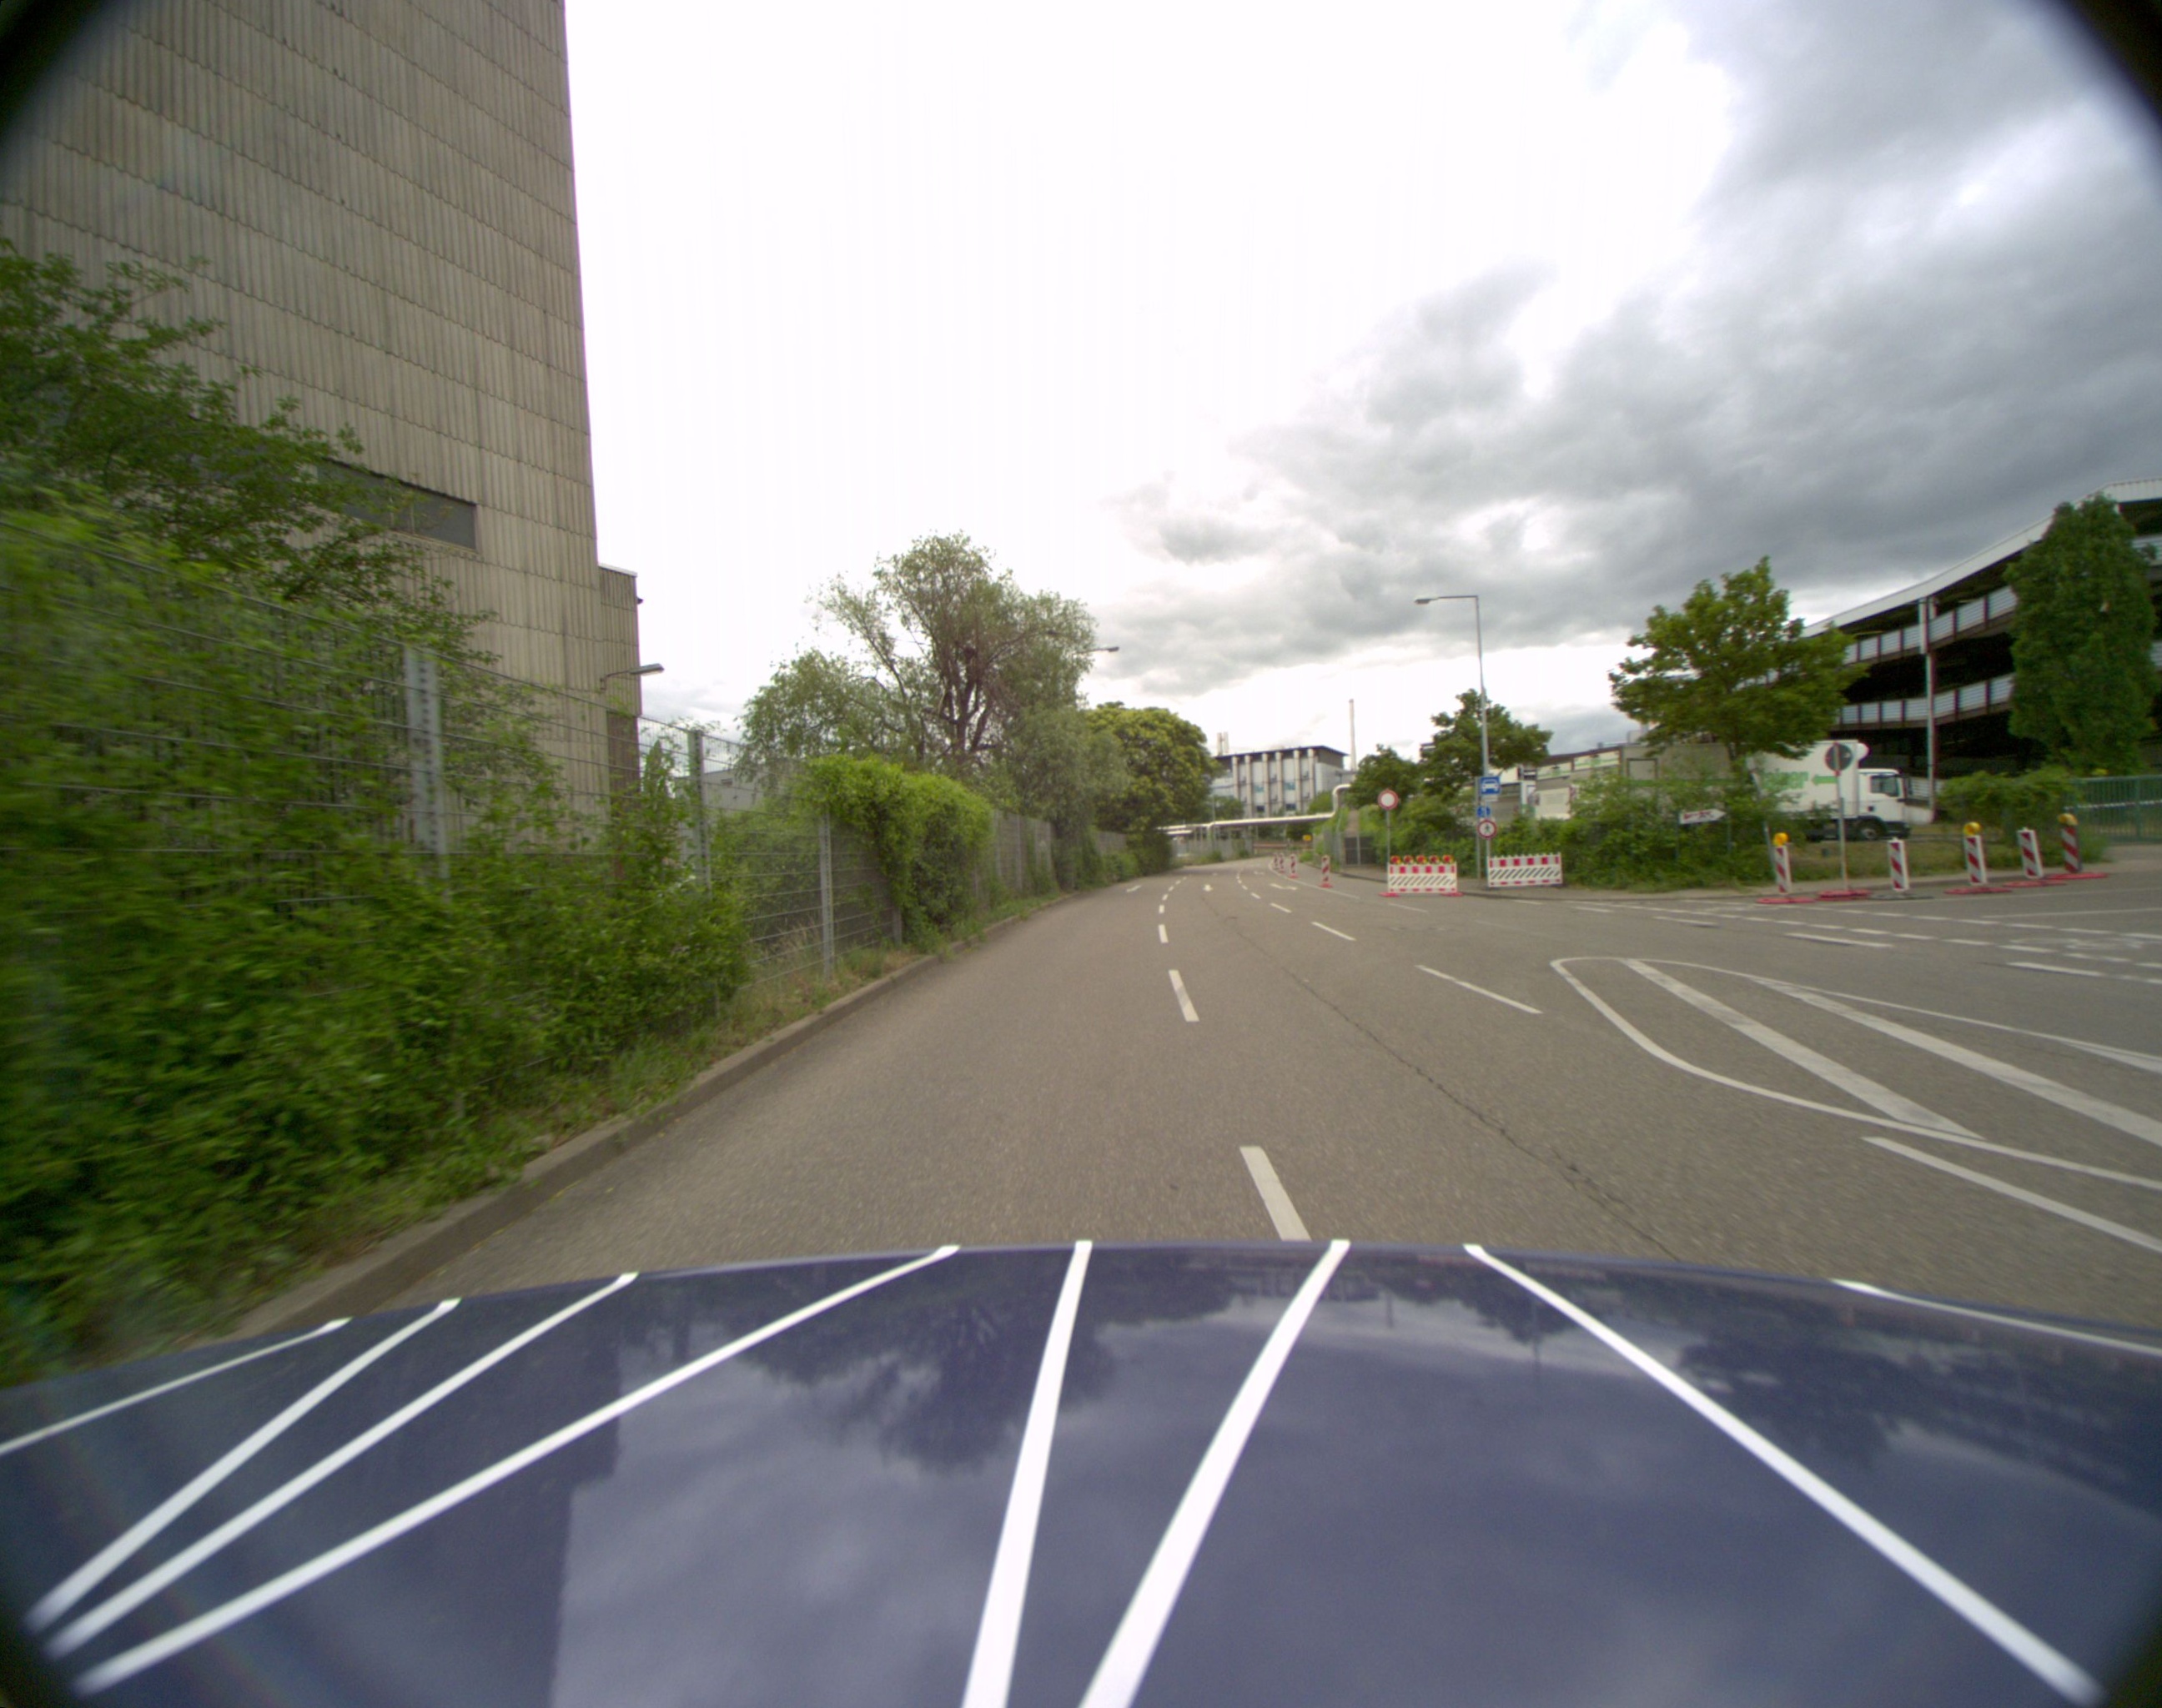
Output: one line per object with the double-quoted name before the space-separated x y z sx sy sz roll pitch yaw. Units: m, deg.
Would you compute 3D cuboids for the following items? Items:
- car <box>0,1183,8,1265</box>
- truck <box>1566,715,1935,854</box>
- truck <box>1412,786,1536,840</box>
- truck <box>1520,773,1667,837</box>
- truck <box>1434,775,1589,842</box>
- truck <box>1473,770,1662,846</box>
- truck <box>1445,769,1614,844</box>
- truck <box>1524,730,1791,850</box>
"car" -6.083 0.933 1.043 1.997 2.002 4.847 -3 2 7
"truck" 22.414 -2.261 25.890 9.643 3.969 3.052 -3 2 2
"truck" 28.888 -3.004 55.847 8.159 3.519 3.047 -3 2 -16
"truck" 21.825 -2.050 32.527 4.697 2.392 2.196 -3 2 7
"truck" 25.487 -2.704 45.148 7.867 3.519 3.048 -3 2 -11
"truck" 23.428 -2.208 36.662 7.869 3.232 3.048 -3 2 -14
"truck" 23.948 -2.522 40.642 7.869 3.519 3.048 -3 2 -14
"truck" 21.871 -2.350 29.165 7.860 3.969 3.051 -3 2 0
